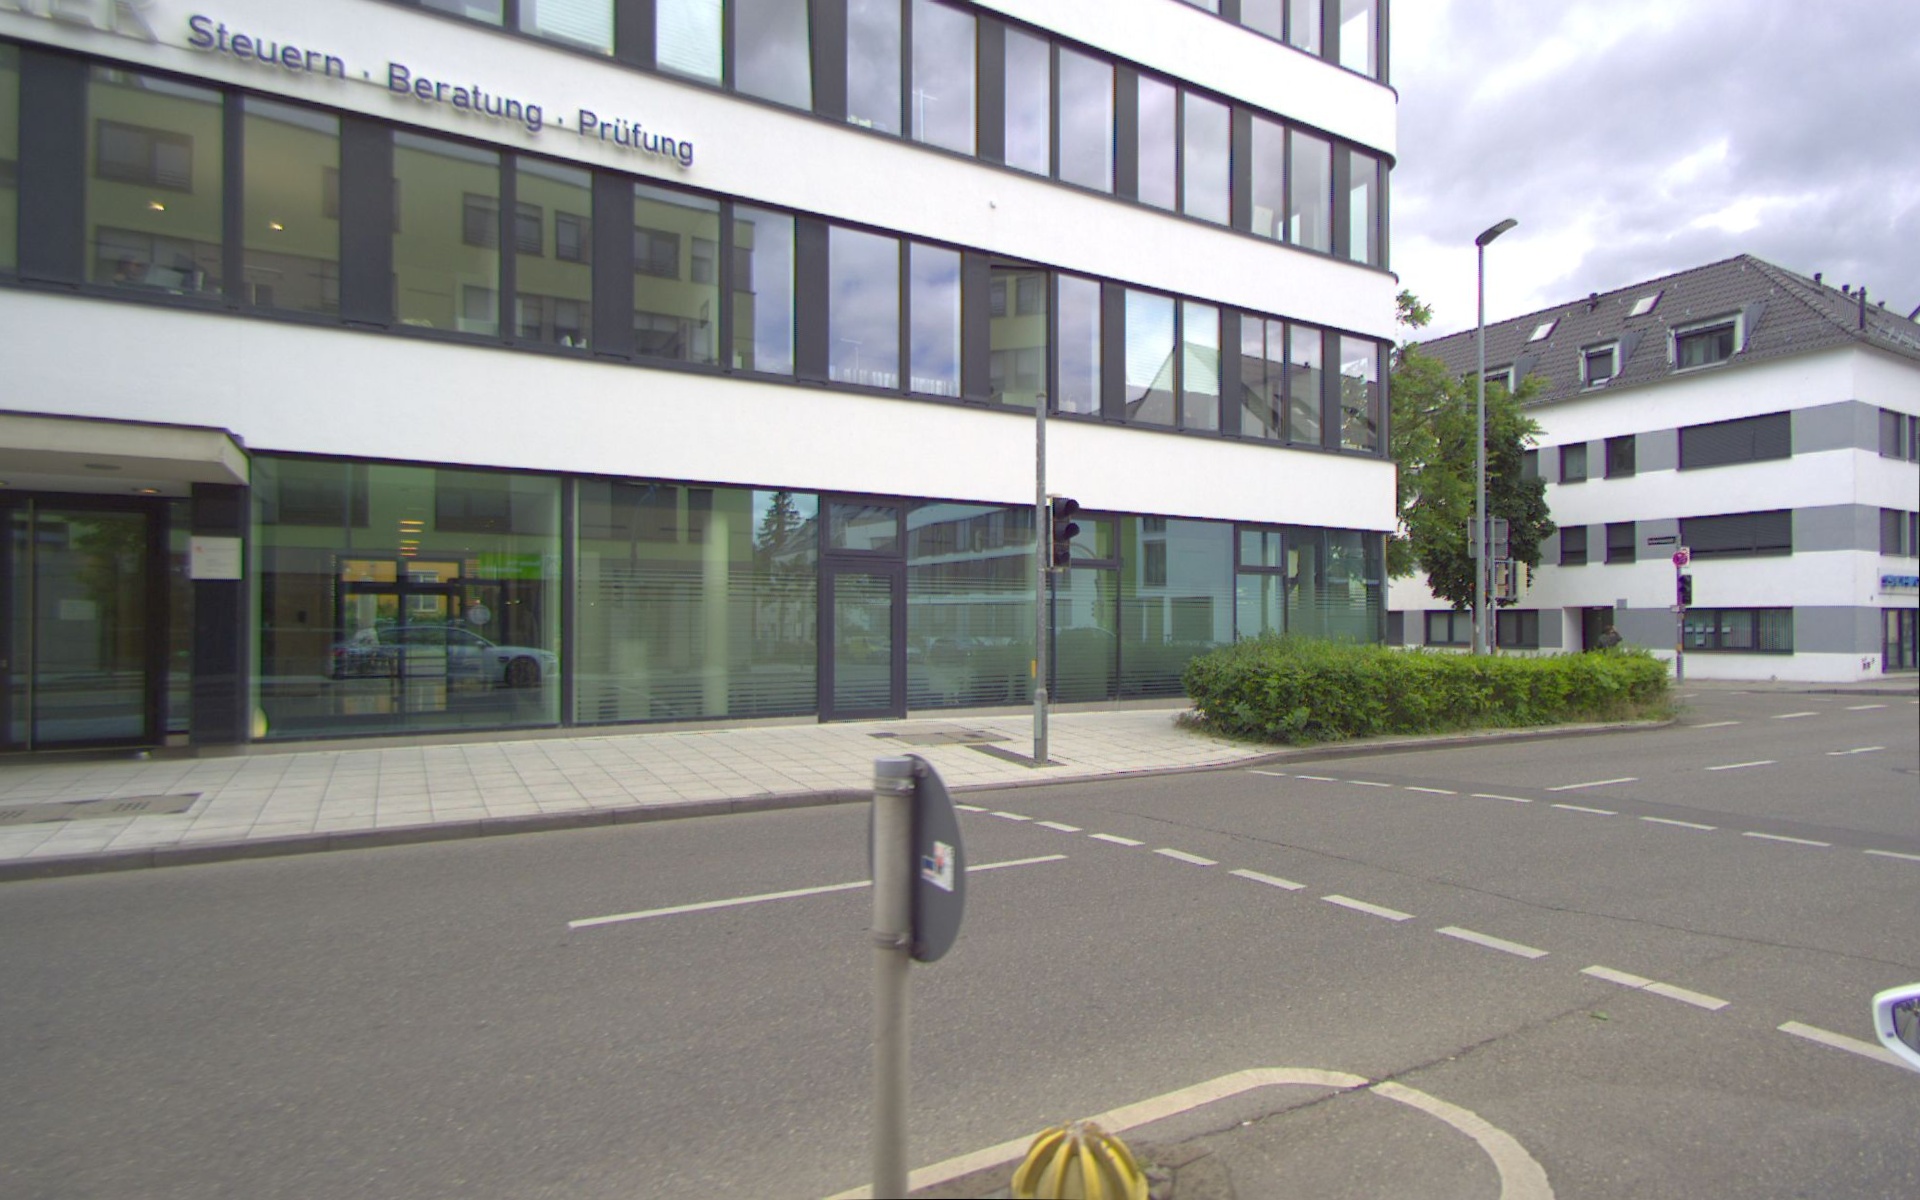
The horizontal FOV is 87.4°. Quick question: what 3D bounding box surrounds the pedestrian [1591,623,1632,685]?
[{"bbox_3d":[18.371,1.506,28.349,0.868,1.692,0.812,-1,1,29],"label":"pedestrian"}]
